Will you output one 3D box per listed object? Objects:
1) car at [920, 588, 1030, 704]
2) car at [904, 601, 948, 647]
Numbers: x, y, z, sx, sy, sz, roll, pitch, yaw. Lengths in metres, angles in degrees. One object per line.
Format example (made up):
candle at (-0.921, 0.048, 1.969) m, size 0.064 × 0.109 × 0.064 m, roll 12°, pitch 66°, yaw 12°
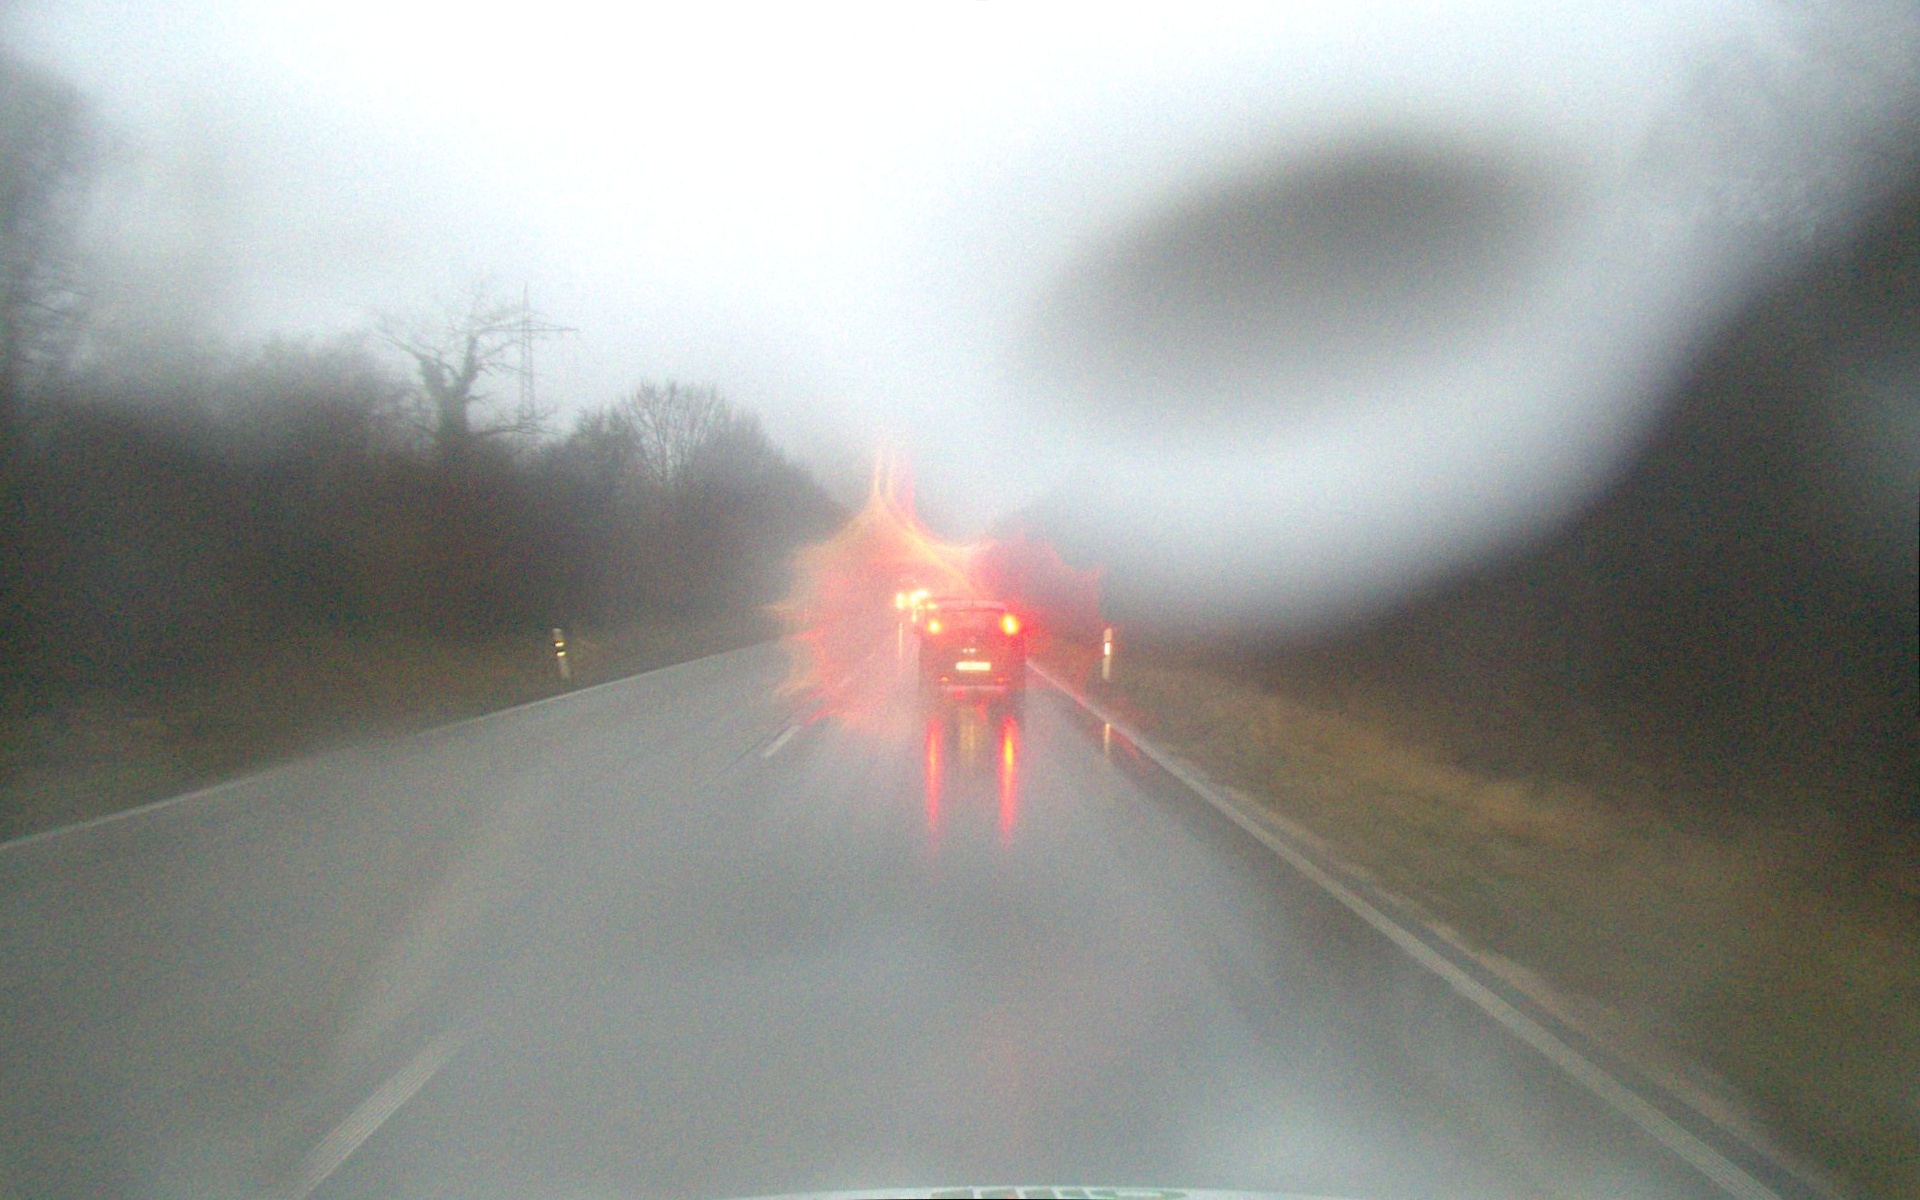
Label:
car at (0.194, 0.678, 26.198) m, size 1.614 × 1.701 × 3.513 m, roll 0°, pitch 0°, yaw -1°
car at (-1.361, 0.951, 66.842) m, size 1.698 × 1.810 × 3.999 m, roll 0°, pitch 0°, yaw -1°
